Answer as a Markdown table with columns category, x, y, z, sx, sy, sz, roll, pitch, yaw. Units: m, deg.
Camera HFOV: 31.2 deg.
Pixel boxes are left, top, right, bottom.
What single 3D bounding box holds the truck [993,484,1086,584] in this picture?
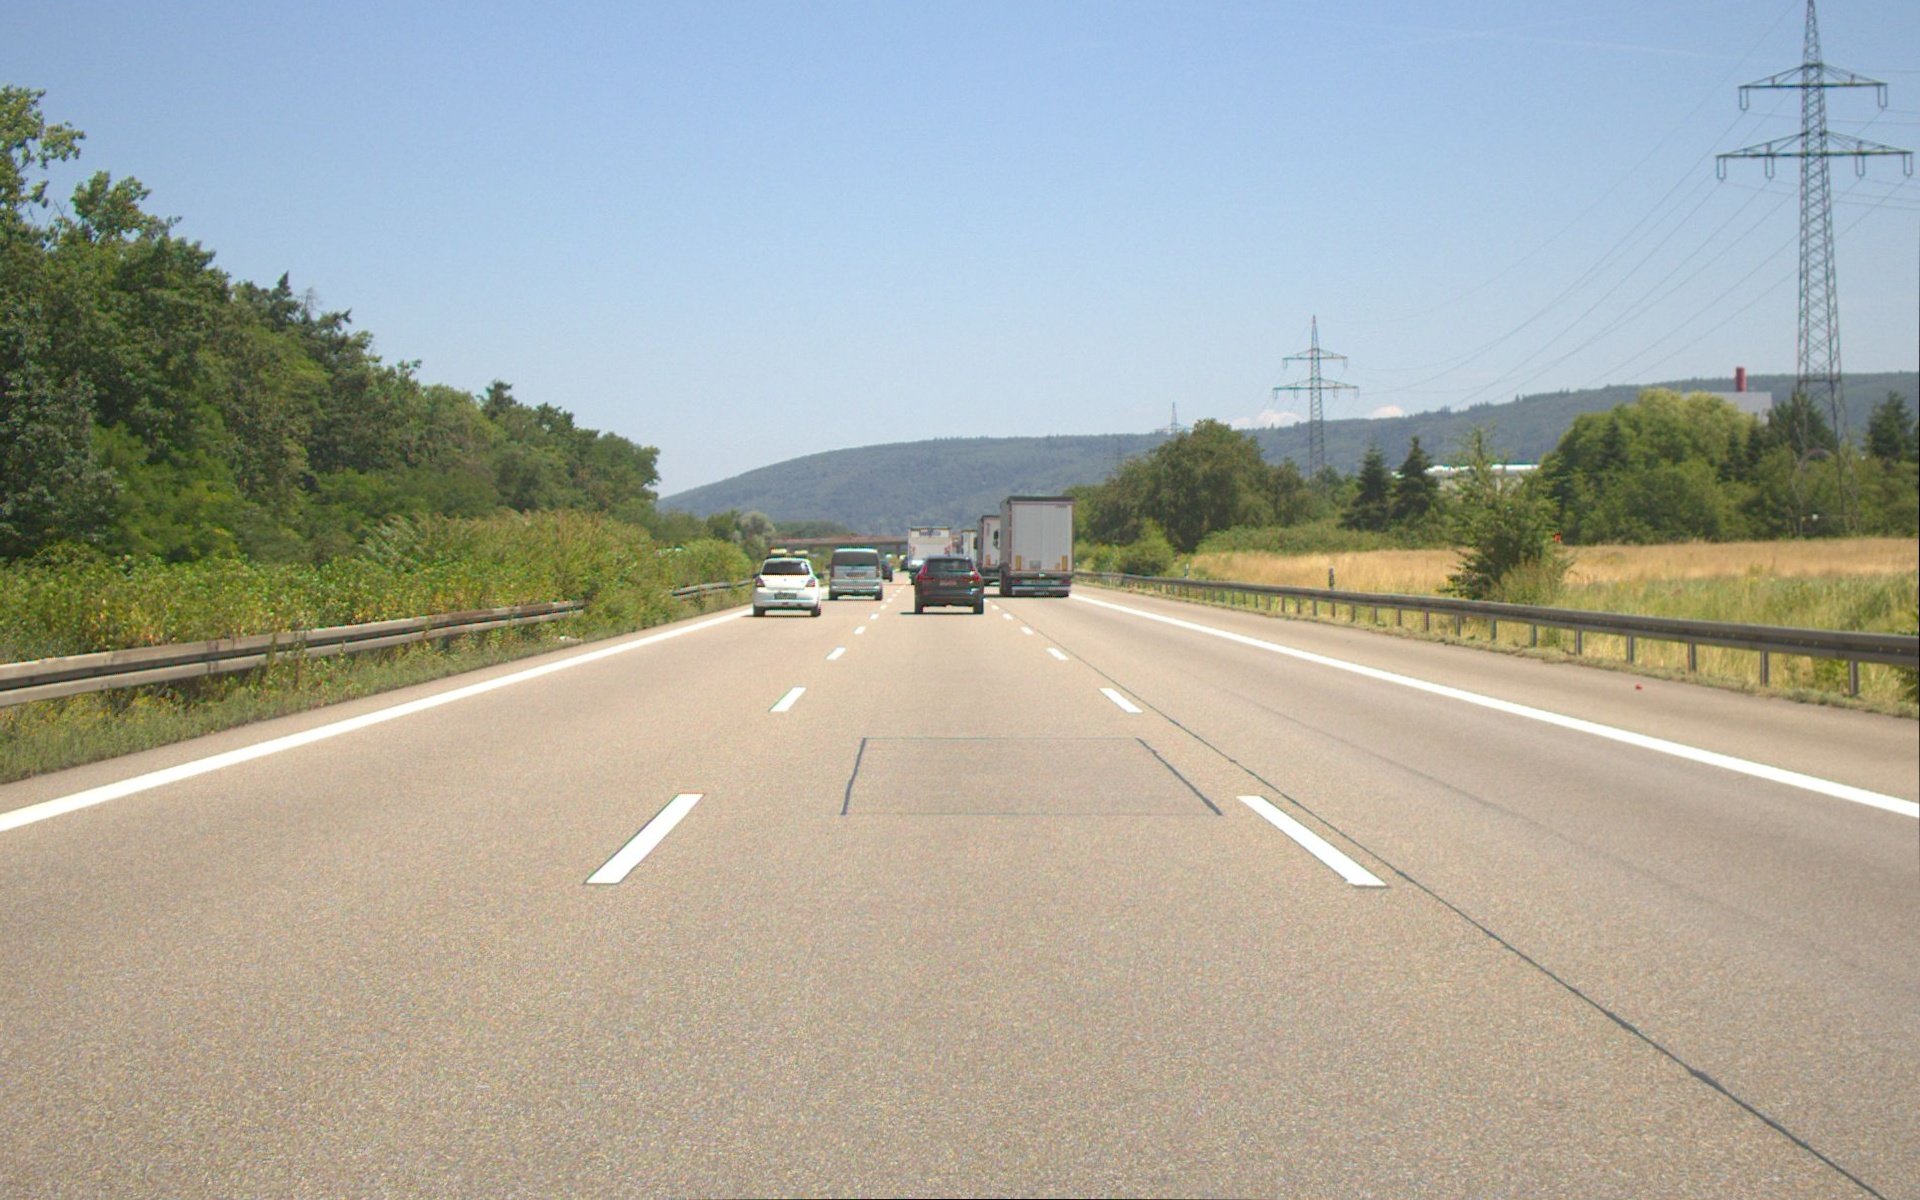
| category | x | y | z | sx | sy | sz | roll | pitch | yaw |
| --- | --- | --- | --- | --- | --- | --- | --- | --- | --- |
| truck | 3.157 | -2.693 | 140.127 | 3.265 | 3.844 | 11.632 | 1 | 1 | -1 |

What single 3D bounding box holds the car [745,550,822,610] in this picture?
| category | x | y | z | sx | sy | sz | roll | pitch | yaw |
| --- | --- | --- | --- | --- | --- | --- | --- | --- | --- |
| car | -4.570 | -0.545 | 89.574 | 1.806 | 1.463 | 4.000 | 1 | 1 | 0 |

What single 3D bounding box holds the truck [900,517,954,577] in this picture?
| category | x | y | z | sx | sy | sz | roll | pitch | yaw |
| --- | --- | --- | --- | --- | --- | --- | --- | --- | --- |
| truck | -2.026 | -3.245 | 207.270 | 3.097 | 3.462 | 11.543 | 1 | 1 | -1 |

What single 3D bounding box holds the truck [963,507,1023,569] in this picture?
| category | x | y | z | sx | sy | sz | roll | pitch | yaw |
| --- | --- | --- | --- | --- | --- | --- | --- | --- | --- |
| truck | 1.882 | -3.643 | 200.496 | 3.097 | 3.462 | 11.543 | 1 | 1 | -1 |

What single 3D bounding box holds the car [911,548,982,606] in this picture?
| category | x | y | z | sx | sy | sz | roll | pitch | yaw |
| --- | --- | --- | --- | --- | --- | --- | --- | --- | --- |
| car | -0.370 | -0.641 | 94.936 | 1.885 | 1.510 | 4.000 | 1 | 1 | 0 |

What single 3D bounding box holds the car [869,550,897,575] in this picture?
| category | x | y | z | sx | sy | sz | roll | pitch | yaw |
| --- | --- | --- | --- | --- | --- | --- | --- | --- | --- |
| car | -5.183 | -2.562 | 231.803 | 1.852 | 1.627 | 4.000 | 1 | 1 | 0 |

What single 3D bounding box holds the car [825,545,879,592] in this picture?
| category | x | y | z | sx | sy | sz | roll | pitch | yaw |
| --- | --- | --- | --- | --- | --- | --- | --- | --- | --- |
| car | -3.911 | -1.166 | 125.038 | 1.852 | 1.627 | 4.000 | 1 | 1 | 0 |
